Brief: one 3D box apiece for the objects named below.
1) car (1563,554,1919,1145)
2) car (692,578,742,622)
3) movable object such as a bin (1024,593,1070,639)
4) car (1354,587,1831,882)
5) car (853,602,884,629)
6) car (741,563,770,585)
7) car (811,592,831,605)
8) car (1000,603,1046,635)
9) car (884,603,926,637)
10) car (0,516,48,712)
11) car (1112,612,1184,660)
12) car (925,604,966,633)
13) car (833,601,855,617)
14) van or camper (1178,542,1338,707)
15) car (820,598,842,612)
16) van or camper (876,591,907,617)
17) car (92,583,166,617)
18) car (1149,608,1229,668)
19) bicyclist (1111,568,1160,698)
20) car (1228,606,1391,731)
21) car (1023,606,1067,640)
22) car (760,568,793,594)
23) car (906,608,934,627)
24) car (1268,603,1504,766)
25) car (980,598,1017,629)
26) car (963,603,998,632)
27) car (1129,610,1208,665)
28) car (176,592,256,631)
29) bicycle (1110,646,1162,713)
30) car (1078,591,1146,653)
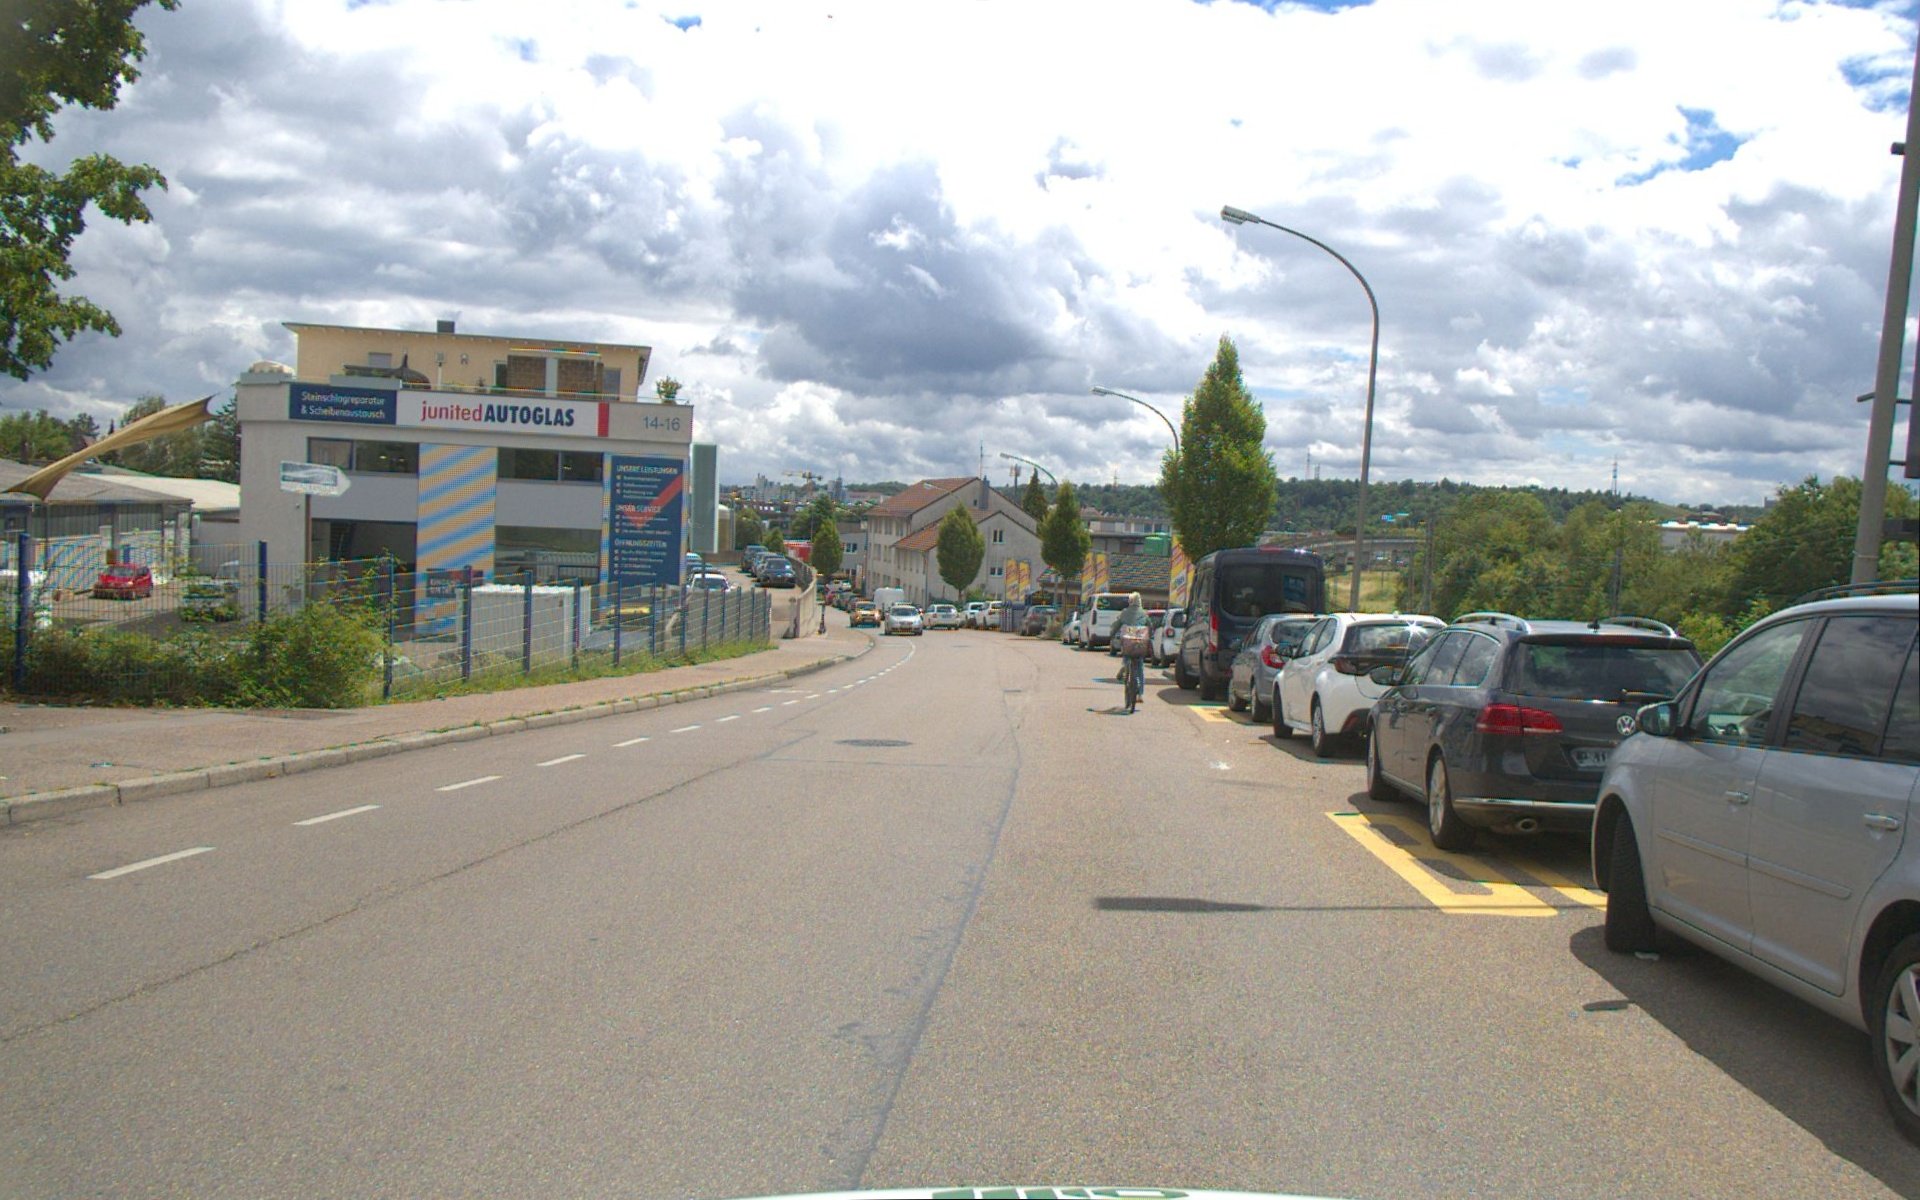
[{"bbox_3d":[3.704,0.758,5.901,1.670,1.707,4.310,3,0,3],"label":"car"},{"bbox_3d":[-9.641,0.019,65.452,1.814,1.679,3.990,0,0,-10],"label":"car"},{"bbox_3d":[4.553,0.831,86.517,2.092,2.343,2.555,0,-1,-5],"label":"movable object such as a bin"},{"bbox_3d":[3.998,0.726,11.326,1.670,1.513,4.575,3,0,3],"label":"car"},{"bbox_3d":[-5.631,0.952,101.549,1.676,1.601,3.994,0,0,-7],"label":"car"},{"bbox_3d":[-13.075,-1.660,105.692,1.640,1.346,3.709,0,1,-10],"label":"car"},{"bbox_3d":[-15.876,-0.152,188.252,1.957,1.445,3.991,0,0,-10],"label":"car"},{"bbox_3d":[3.458,1.021,91.114,2.092,1.736,3.996,0,0,-5],"label":"car"},{"bbox_3d":[-2.766,0.970,82.162,1.670,1.589,4.320,1,0,-7],"label":"car"},{"bbox_3d":[-10.886,-0.016,14.486,4.601,1.746,2.000,3,-2,3],"label":"car"},{"bbox_3d":[5.948,1.110,52.734,1.864,1.467,3.543,0,0,-1],"label":"car"},{"bbox_3d":[-0.853,1.038,96.016,1.956,1.646,3.993,0,0,-7],"label":"car"},{"bbox_3d":[-11.619,0.907,165.600,1.956,1.490,3.992,0,0,-9],"label":"car"},{"bbox_3d":[5.253,0.409,29.937,2.080,2.630,5.919,2,0,3],"label":"van or camper"},{"bbox_3d":[-13.463,0.532,172.390,1.956,1.490,3.992,0,0,-9],"label":"car"},{"bbox_3d":[-5.724,0.319,137.895,1.958,2.048,3.991,4,0,-10],"label":"van or camper"},{"bbox_3d":[-36.658,0.005,73.047,1.959,1.378,3.988,2,0,-12],"label":"car"},{"bbox_3d":[6.013,0.977,43.715,1.756,1.532,2.906,0,0,1],"label":"car"},{"bbox_3d":[2.556,0.472,24.167,0.670,1.857,1.081,0,-1,4],"label":"bicyclist"},{"bbox_3d":[4.883,0.903,23.558,1.670,1.536,3.697,3,0,3],"label":"car"},{"bbox_3d":[4.196,1.128,82.121,1.953,1.646,3.999,0,0,-1],"label":"car"},{"bbox_3d":[-9.793,-1.001,88.180,1.639,1.346,3.712,0,1,-8],"label":"car"},{"bbox_3d":[-3.137,1.350,128.670,1.954,1.490,3.996,0,0,-4],"label":"car"},{"bbox_3d":[4.584,0.839,18.361,1.670,1.505,3.959,3,0,2],"label":"car"},{"bbox_3d":[2.233,0.795,96.520,1.778,1.736,3.996,0,0,-5],"label":"car"},{"bbox_3d":[1.255,1.063,102.173,1.806,1.736,3.996,0,0,-5],"label":"car"},{"bbox_3d":[6.000,1.059,48.059,1.837,1.534,4.000,0,0,1],"label":"car"},{"bbox_3d":[-28.557,0.436,63.609,1.959,1.378,3.988,2,0,-12],"label":"car"},{"bbox_3d":[2.550,1.144,24.172,0.673,0.893,2.103,0,0,4],"label":"bicycle"},{"bbox_3d":[5.399,0.773,59.442,1.953,2.049,4.918,2,0,0],"label":"car"}]
